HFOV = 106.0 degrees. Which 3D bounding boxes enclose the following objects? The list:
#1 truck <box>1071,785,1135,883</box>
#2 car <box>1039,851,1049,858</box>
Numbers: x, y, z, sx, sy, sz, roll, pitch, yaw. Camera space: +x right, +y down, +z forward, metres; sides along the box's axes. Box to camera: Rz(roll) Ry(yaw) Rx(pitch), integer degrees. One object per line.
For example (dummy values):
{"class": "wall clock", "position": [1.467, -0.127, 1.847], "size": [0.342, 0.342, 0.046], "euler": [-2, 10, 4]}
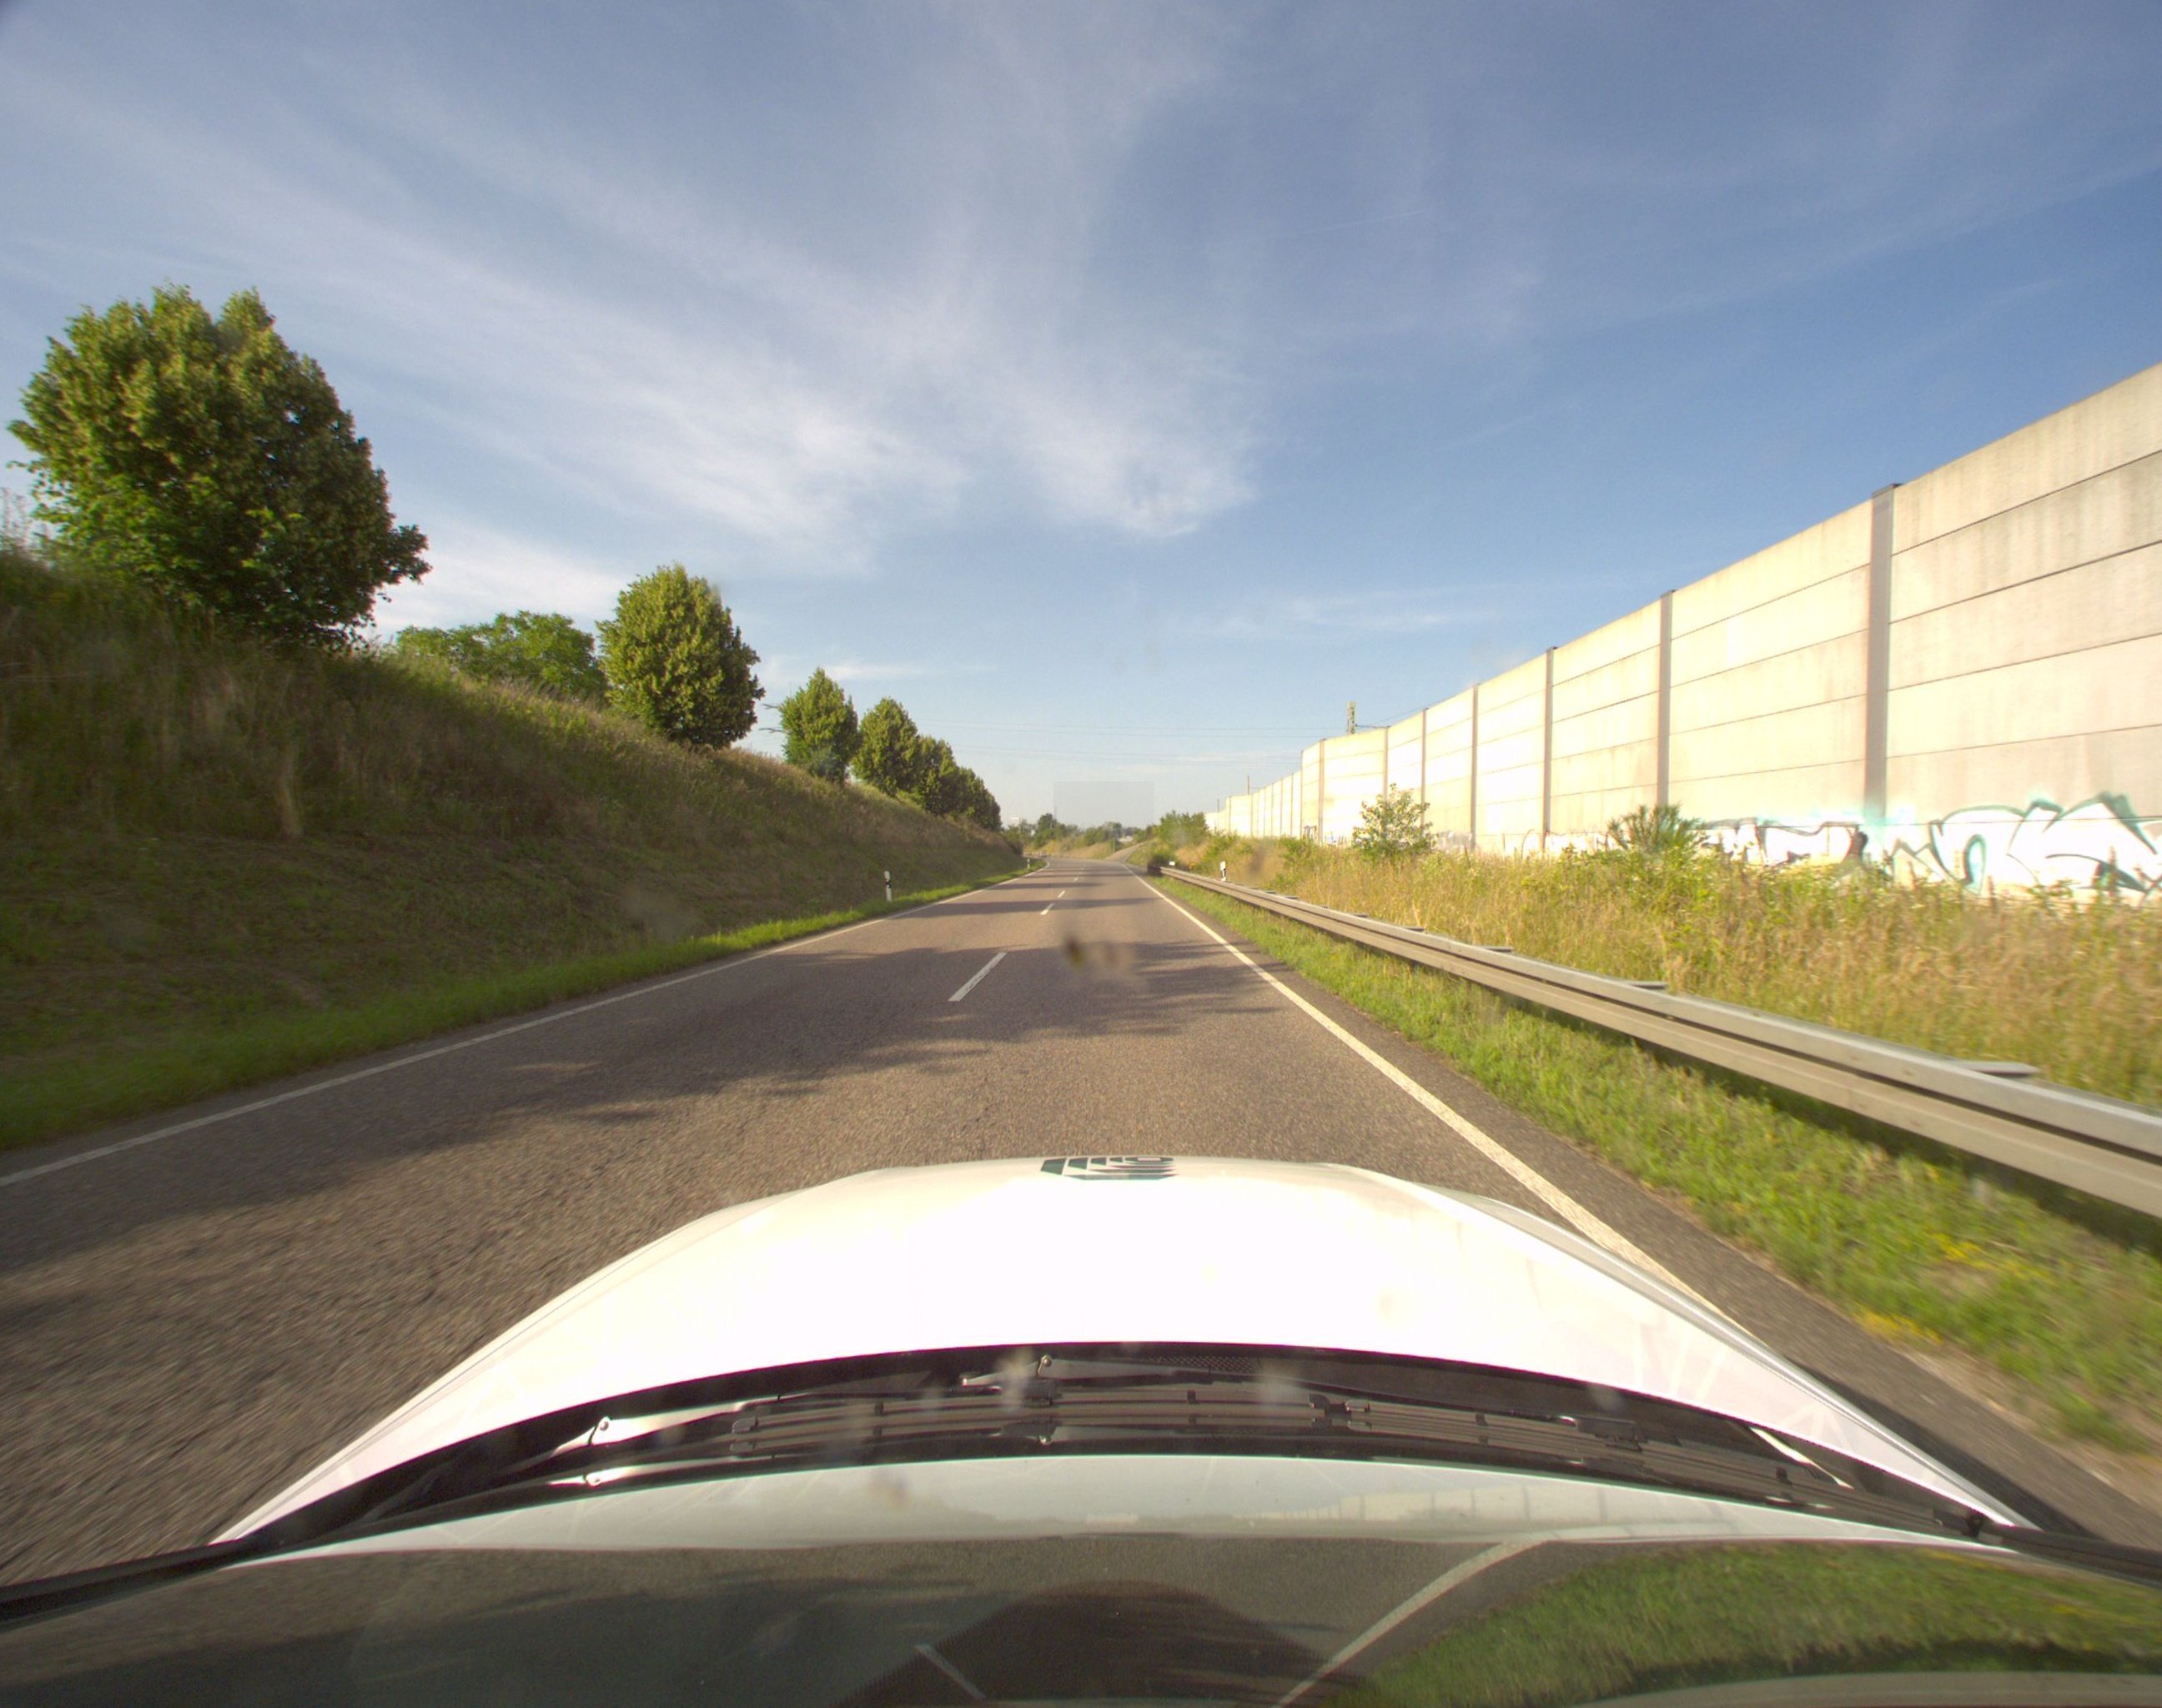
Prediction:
{"class": "truck", "position": [1.204, -1.085, 48.262], "size": [3.280, 5.089, 12.038], "euler": [0, 0, 0]}
{"class": "car", "position": [-9.486, 0.128, 208.593], "size": [2.038, 1.581, 4.362], "euler": [0, 0, 2]}
